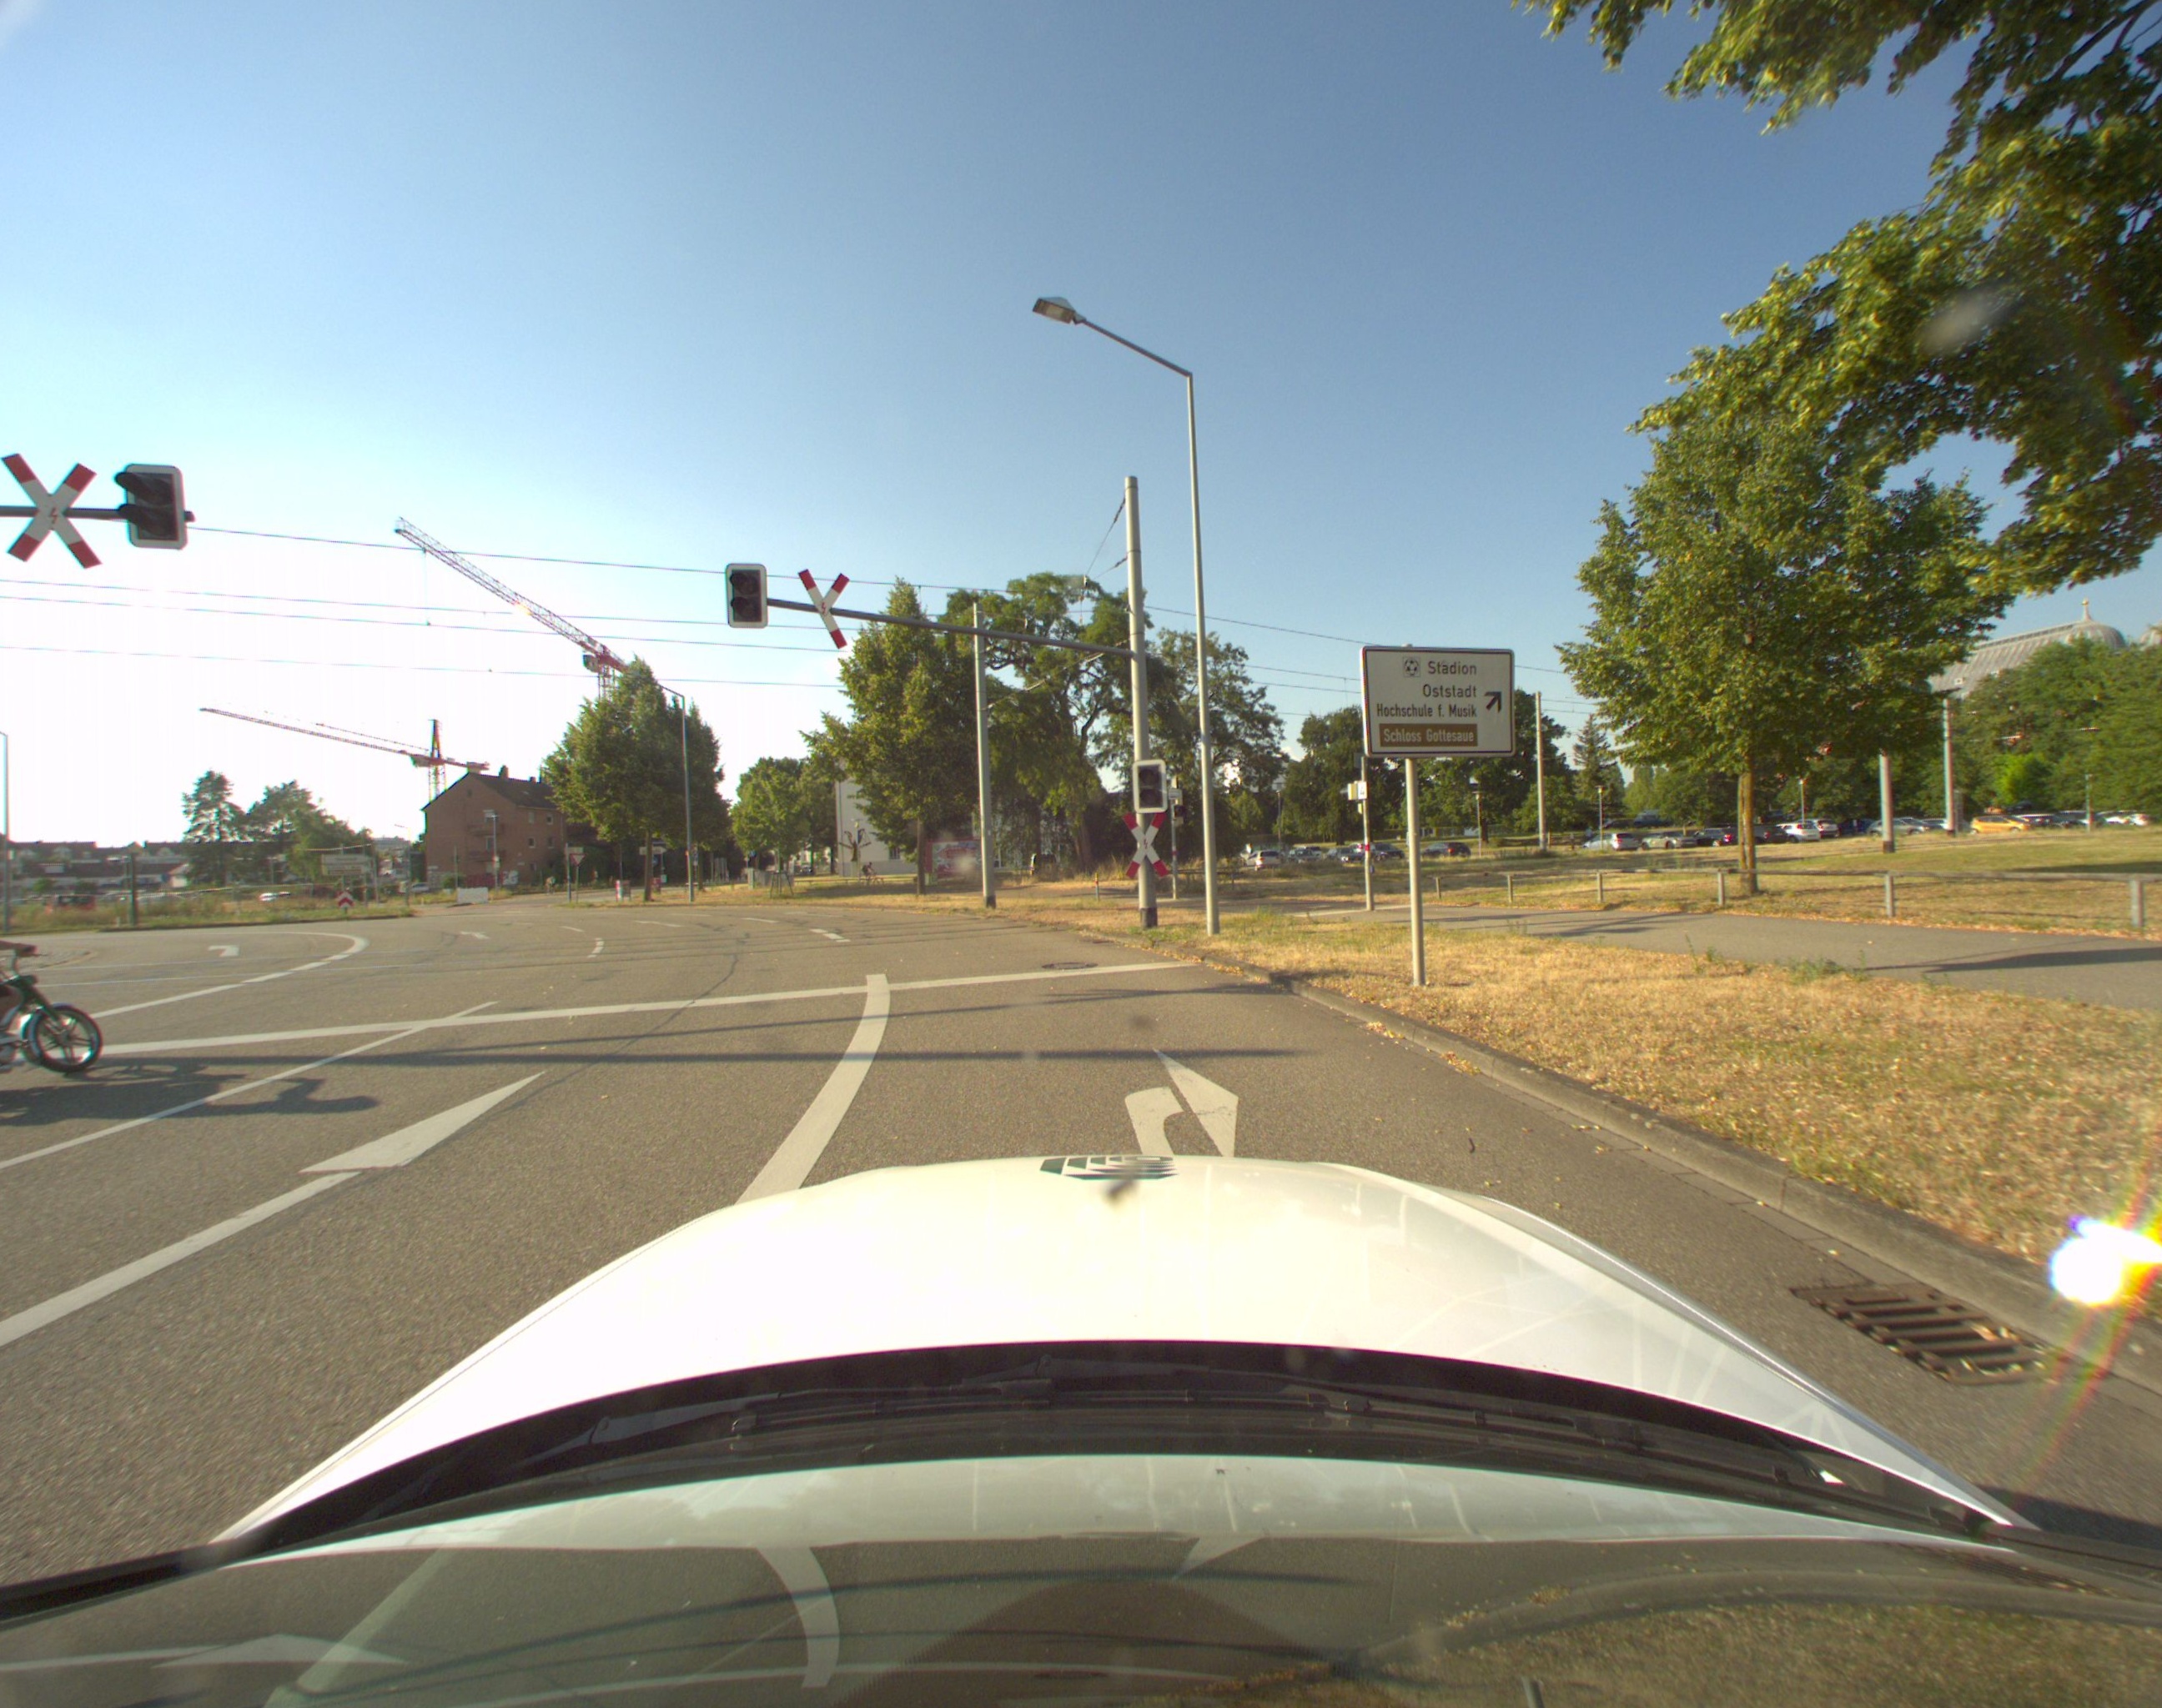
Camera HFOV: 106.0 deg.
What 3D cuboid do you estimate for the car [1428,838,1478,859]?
[{"bbox_3d":[24.991,-0.370,54.899,1.595,1.310,3.970,-3,0,2],"label":"car"}]

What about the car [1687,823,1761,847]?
[{"bbox_3d":[44.486,-1.289,56.415,1.817,1.403,3.996,-3,0,-3],"label":"car"}]

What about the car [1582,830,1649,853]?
[{"bbox_3d":[36.920,-0.855,56.395,1.817,1.403,3.996,-3,0,-3],"label":"car"}]

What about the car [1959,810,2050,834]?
[{"bbox_3d":[65.920,-2.271,58.234,1.817,1.403,3.996,-3,0,-3],"label":"car"}]

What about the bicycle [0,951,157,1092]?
[{"bbox_3d":[-8.034,1.275,6.027,0.477,0.876,1.850,-2,0,-9],"label":"bicycle"}]

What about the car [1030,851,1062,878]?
[{"bbox_3d":[-2.248,0.691,53.541,1.764,1.618,3.970,-3,0,2],"label":"car"}]

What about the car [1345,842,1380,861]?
[{"bbox_3d":[23.516,-0.188,68.116,1.595,1.402,3.970,-3,0,2],"label":"car"}]

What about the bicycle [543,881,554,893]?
[{"bbox_3d":[-47.203,2.936,72.174,0.600,0.963,2.087,-2,0,-27],"label":"bicycle"}]

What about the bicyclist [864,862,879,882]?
[{"bbox_3d":[-15.055,1.320,58.609,0.904,1.396,0.520,-3,0,-33],"label":"bicyclist"}]

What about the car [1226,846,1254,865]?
[{"bbox_3d":[13.025,0.115,66.793,1.595,1.402,3.970,-3,0,2],"label":"car"}]

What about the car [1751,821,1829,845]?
[{"bbox_3d":[49.622,-1.444,57.105,1.817,1.403,3.996,-3,0,-3],"label":"car"}]

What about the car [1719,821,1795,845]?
[{"bbox_3d":[46.761,-1.418,56.459,1.817,1.403,3.996,-3,0,-3],"label":"car"}]

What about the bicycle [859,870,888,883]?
[{"bbox_3d":[-14.924,1.639,58.626,2.001,0.825,0.425,-3,0,-33],"label":"bicycle"}]

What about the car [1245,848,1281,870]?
[{"bbox_3d":[12.242,0.341,54.870,1.595,1.402,3.970,-3,0,2],"label":"car"}]

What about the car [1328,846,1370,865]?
[{"bbox_3d":[18.061,0.105,55.138,1.595,1.221,3.970,-3,0,2],"label":"car"}]

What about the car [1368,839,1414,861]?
[{"bbox_3d":[20.858,-0.247,54.940,1.595,1.402,3.970,-3,0,2],"label":"car"}]

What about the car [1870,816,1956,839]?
[{"bbox_3d":[58.338,-1.850,57.224,1.817,1.403,3.996,-3,0,-3],"label":"car"}]

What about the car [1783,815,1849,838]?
[{"bbox_3d":[62.162,-2.294,68.963,1.817,1.672,3.996,-3,0,-3],"label":"car"}]

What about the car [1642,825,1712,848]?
[{"bbox_3d":[41.614,-1.173,57.018,1.817,1.403,3.996,-3,0,-3],"label":"car"}]

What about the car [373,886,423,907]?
[{"bbox_3d":[-75.503,4.653,90.096,3.807,2.013,1.667,-3,-1,-9],"label":"car"}]

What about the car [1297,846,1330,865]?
[{"bbox_3d":[18.988,0.112,66.714,1.595,1.402,3.970,-3,0,2],"label":"car"}]

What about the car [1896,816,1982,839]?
[{"bbox_3d":[60.742,-1.869,57.757,1.817,1.403,3.996,-3,0,-3],"label":"car"}]

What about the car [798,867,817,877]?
[{"bbox_3d":[-42.017,2.731,125.278,1.578,1.442,3.553,-3,0,1],"label":"car"}]

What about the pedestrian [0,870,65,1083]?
[{"bbox_3d":[-8.089,0.894,5.773,0.656,1.519,0.851,-3,0,-10],"label":"pedestrian"}]

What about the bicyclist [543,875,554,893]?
[{"bbox_3d":[-47.295,2.648,72.363,0.661,1.562,0.886,-2,-1,-28],"label":"bicyclist"}]

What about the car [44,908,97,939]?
[{"bbox_3d":[-69.999,4.792,56.390,3.948,1.854,1.938,-2,0,34],"label":"car"}]
